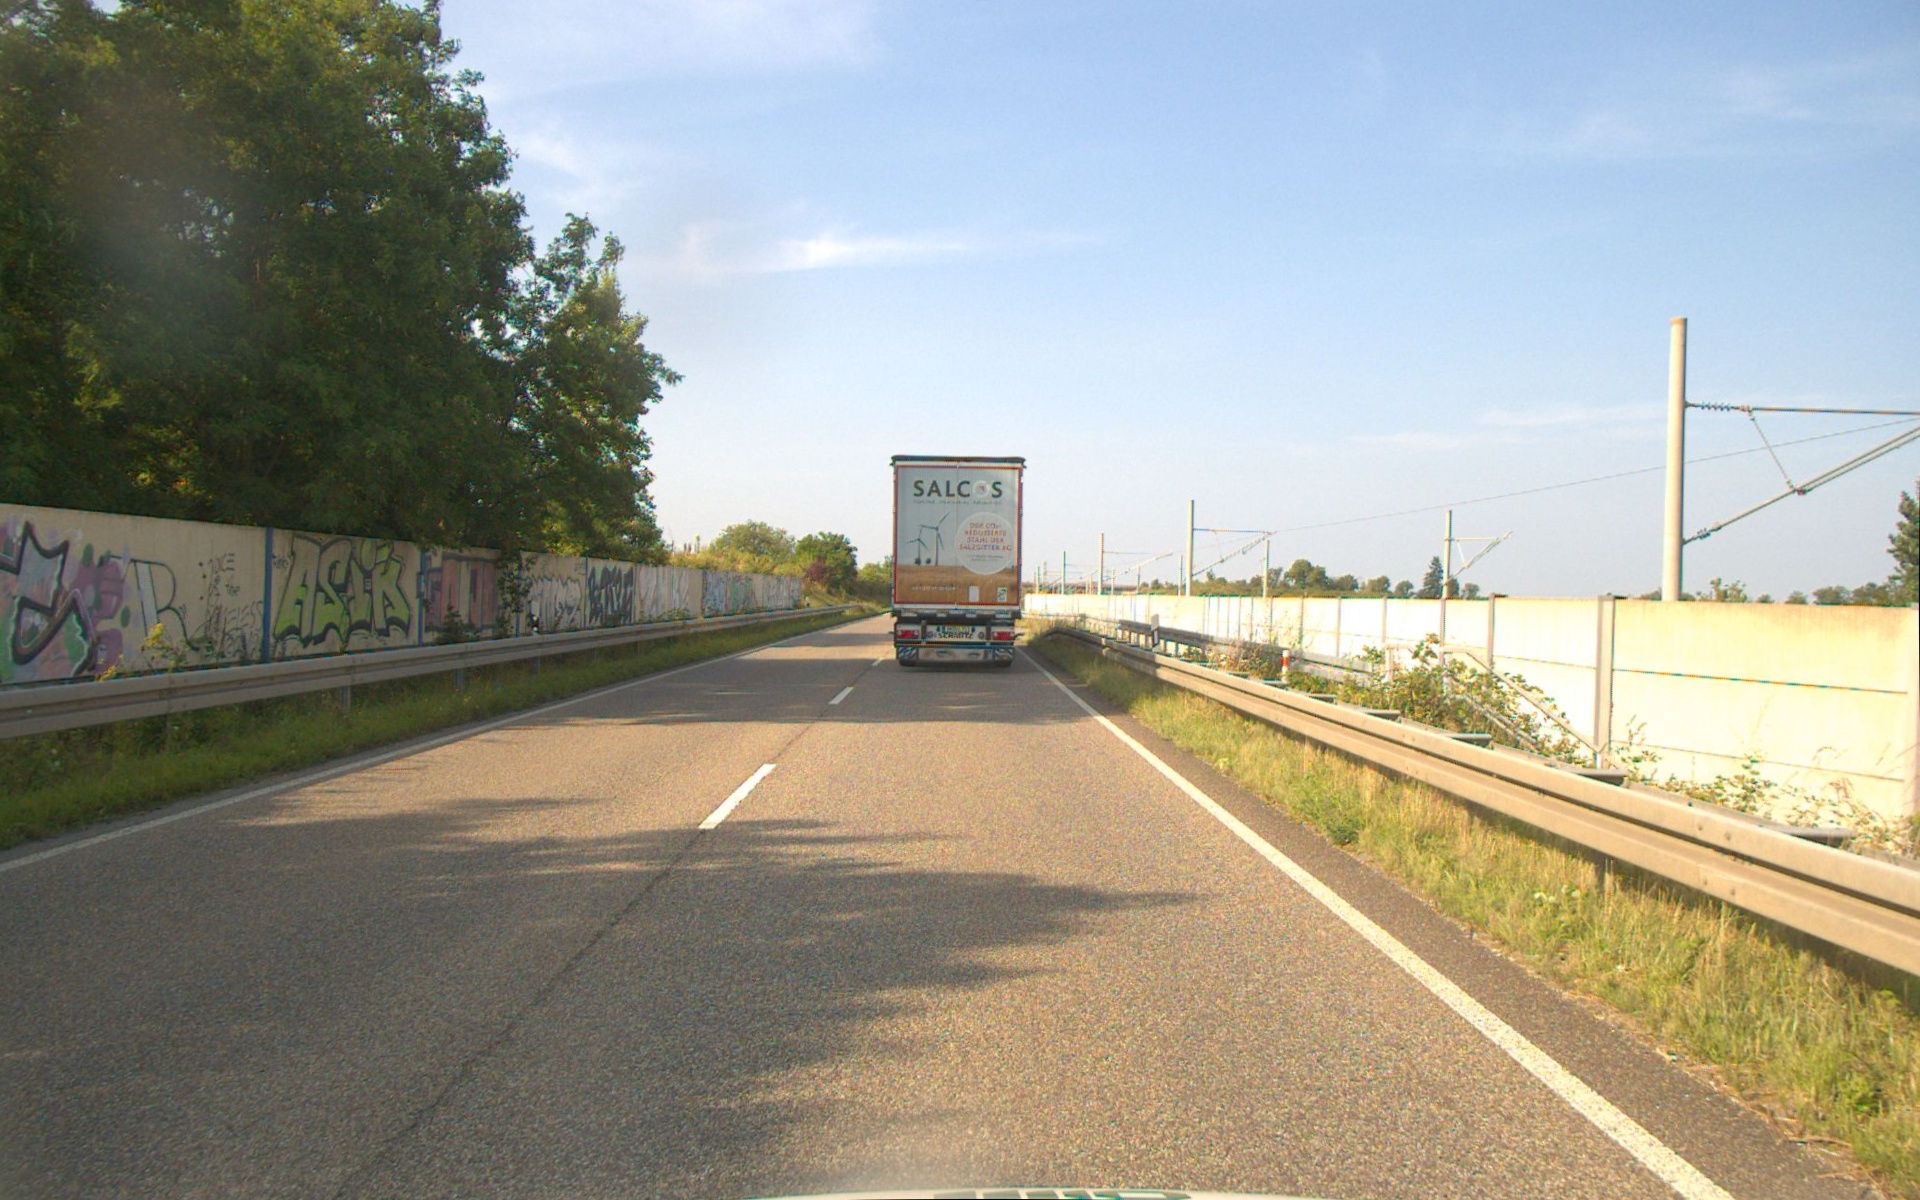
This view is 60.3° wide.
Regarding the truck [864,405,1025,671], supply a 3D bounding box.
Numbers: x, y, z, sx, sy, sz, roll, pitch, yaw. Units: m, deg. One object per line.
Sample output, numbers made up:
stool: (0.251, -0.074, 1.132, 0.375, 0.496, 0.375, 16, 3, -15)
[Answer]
truck: (-0.405, -1.181, 37.428, 2.971, 5.006, 11.681, 1, 0, -1)
